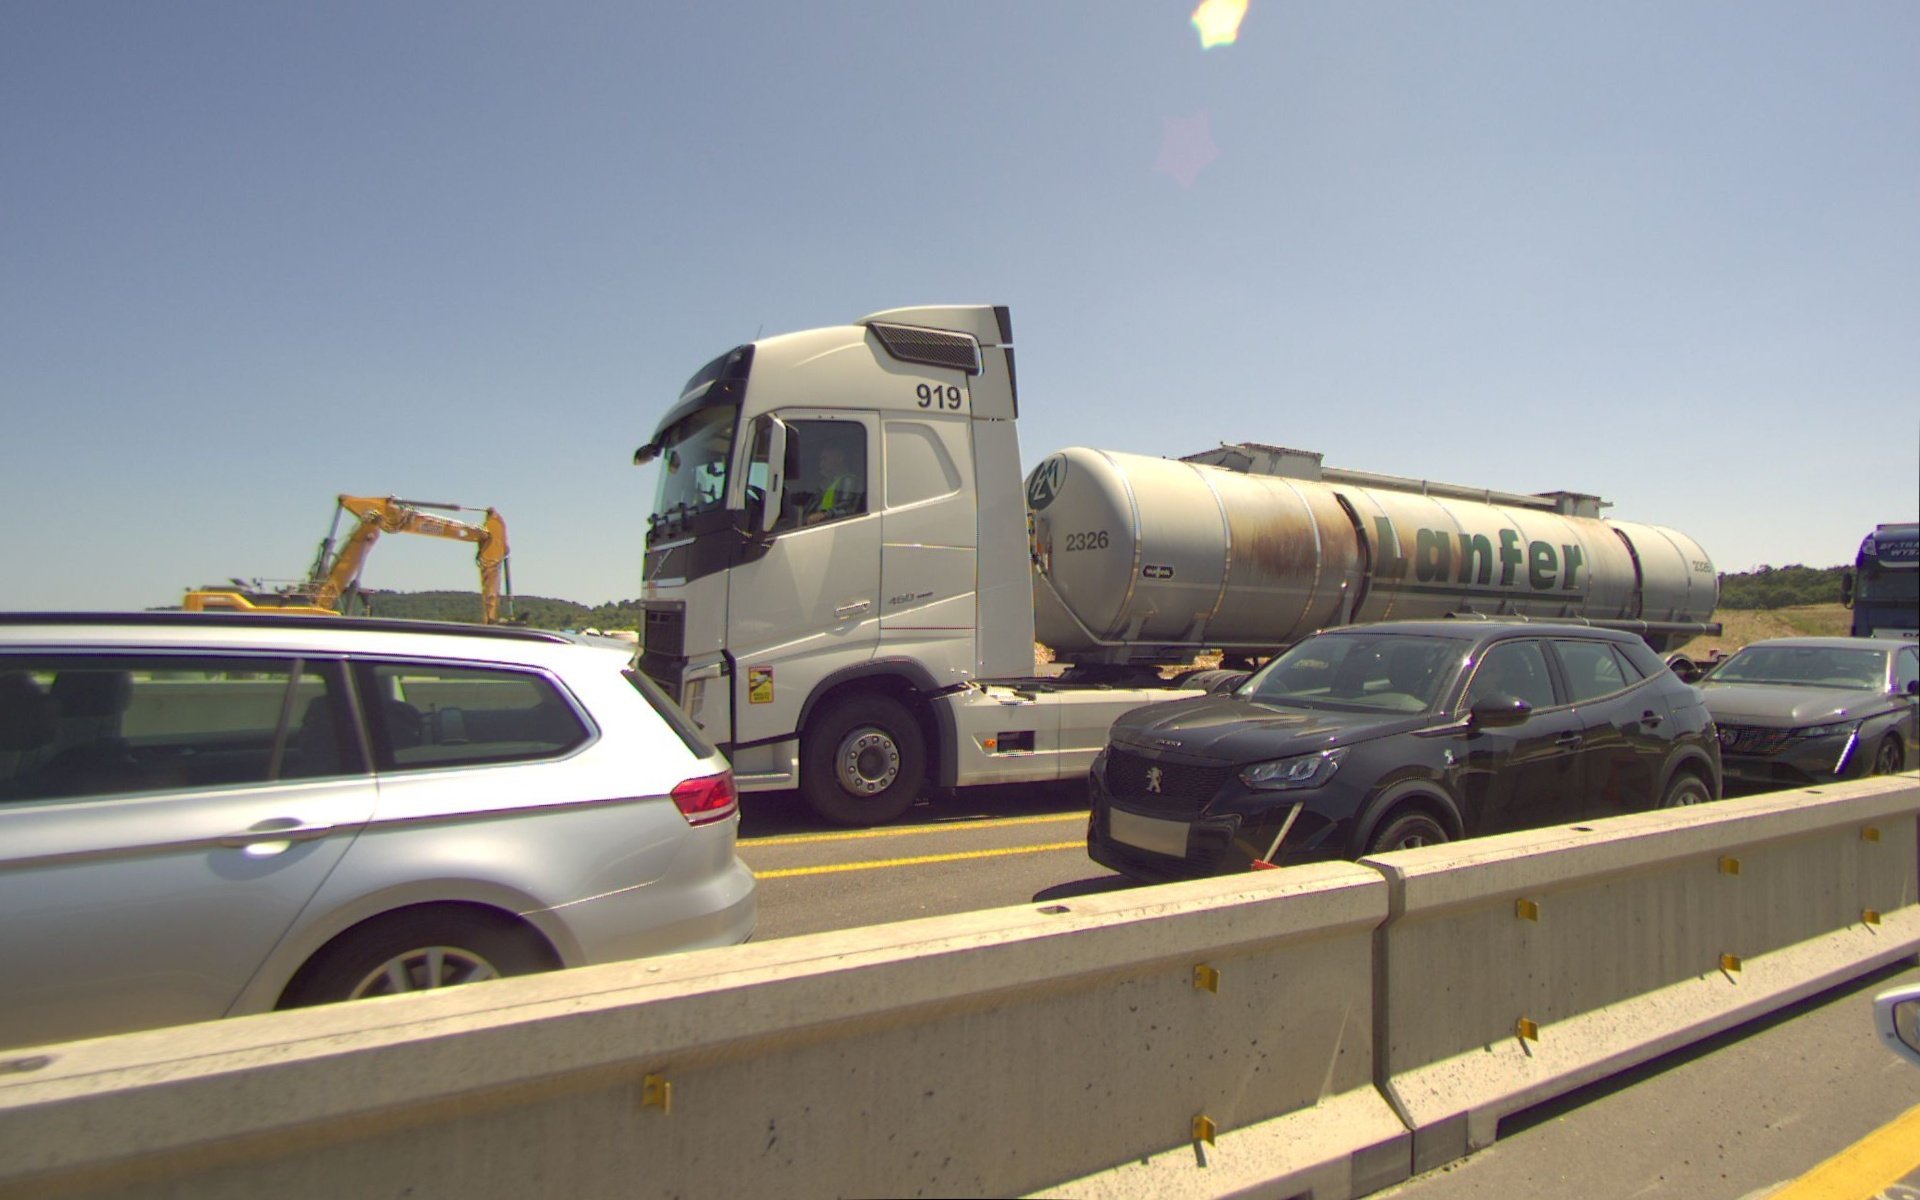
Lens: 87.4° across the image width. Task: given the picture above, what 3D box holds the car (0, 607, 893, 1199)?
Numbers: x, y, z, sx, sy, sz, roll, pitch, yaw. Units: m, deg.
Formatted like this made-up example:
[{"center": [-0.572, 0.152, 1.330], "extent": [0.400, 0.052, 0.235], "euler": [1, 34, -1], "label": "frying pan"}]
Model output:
[{"center": [-2.592, 0.760, 3.037], "extent": [4.496, 1.463, 1.671], "euler": [2, -1, -28], "label": "car"}]

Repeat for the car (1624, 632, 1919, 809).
[{"center": [8.908, 1.070, 10.255], "extent": [4.742, 1.435, 1.726], "euler": [2, -1, -32], "label": "car"}]

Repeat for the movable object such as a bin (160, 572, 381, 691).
[{"center": [-19.534, 0.882, 28.882], "extent": [4.935, 3.065, 3.647], "euler": [-1, -2, -31], "label": "movable object such as a bin"}]

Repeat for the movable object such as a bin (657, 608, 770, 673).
[{"center": [-13.081, 2.085, 53.628], "extent": [2.393, 3.168, 5.454], "euler": [3, 1, 40], "label": "movable object such as a bin"}]

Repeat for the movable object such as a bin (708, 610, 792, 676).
[{"center": [-10.781, 2.160, 51.691], "extent": [1.970, 3.168, 3.738], "euler": [3, 1, 40], "label": "movable object such as a bin"}]

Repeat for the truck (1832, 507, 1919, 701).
[{"center": [25.078, 0.201, 24.784], "extent": [10.759, 4.192, 2.756], "euler": [1, -2, -35], "label": "truck"}]

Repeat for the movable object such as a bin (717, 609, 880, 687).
[{"center": [-7.053, 2.068, 43.959], "extent": [5.954, 3.090, 3.819], "euler": [-1, -2, -35], "label": "movable object such as a bin"}]

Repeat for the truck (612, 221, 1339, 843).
[{"center": [0.254, -0.364, 9.161], "extent": [6.123, 4.022, 2.689], "euler": [1, -2, -29], "label": "truck"}]

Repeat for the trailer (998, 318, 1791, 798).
[{"center": [5.897, -0.227, 12.297], "extent": [11.105, 4.030, 2.693], "euler": [1, -2, -29], "label": "trailer"}]

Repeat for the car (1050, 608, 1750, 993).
[{"center": [2.672, 0.878, 5.854], "extent": [4.069, 1.564, 1.670], "euler": [2, -1, -30], "label": "car"}]
